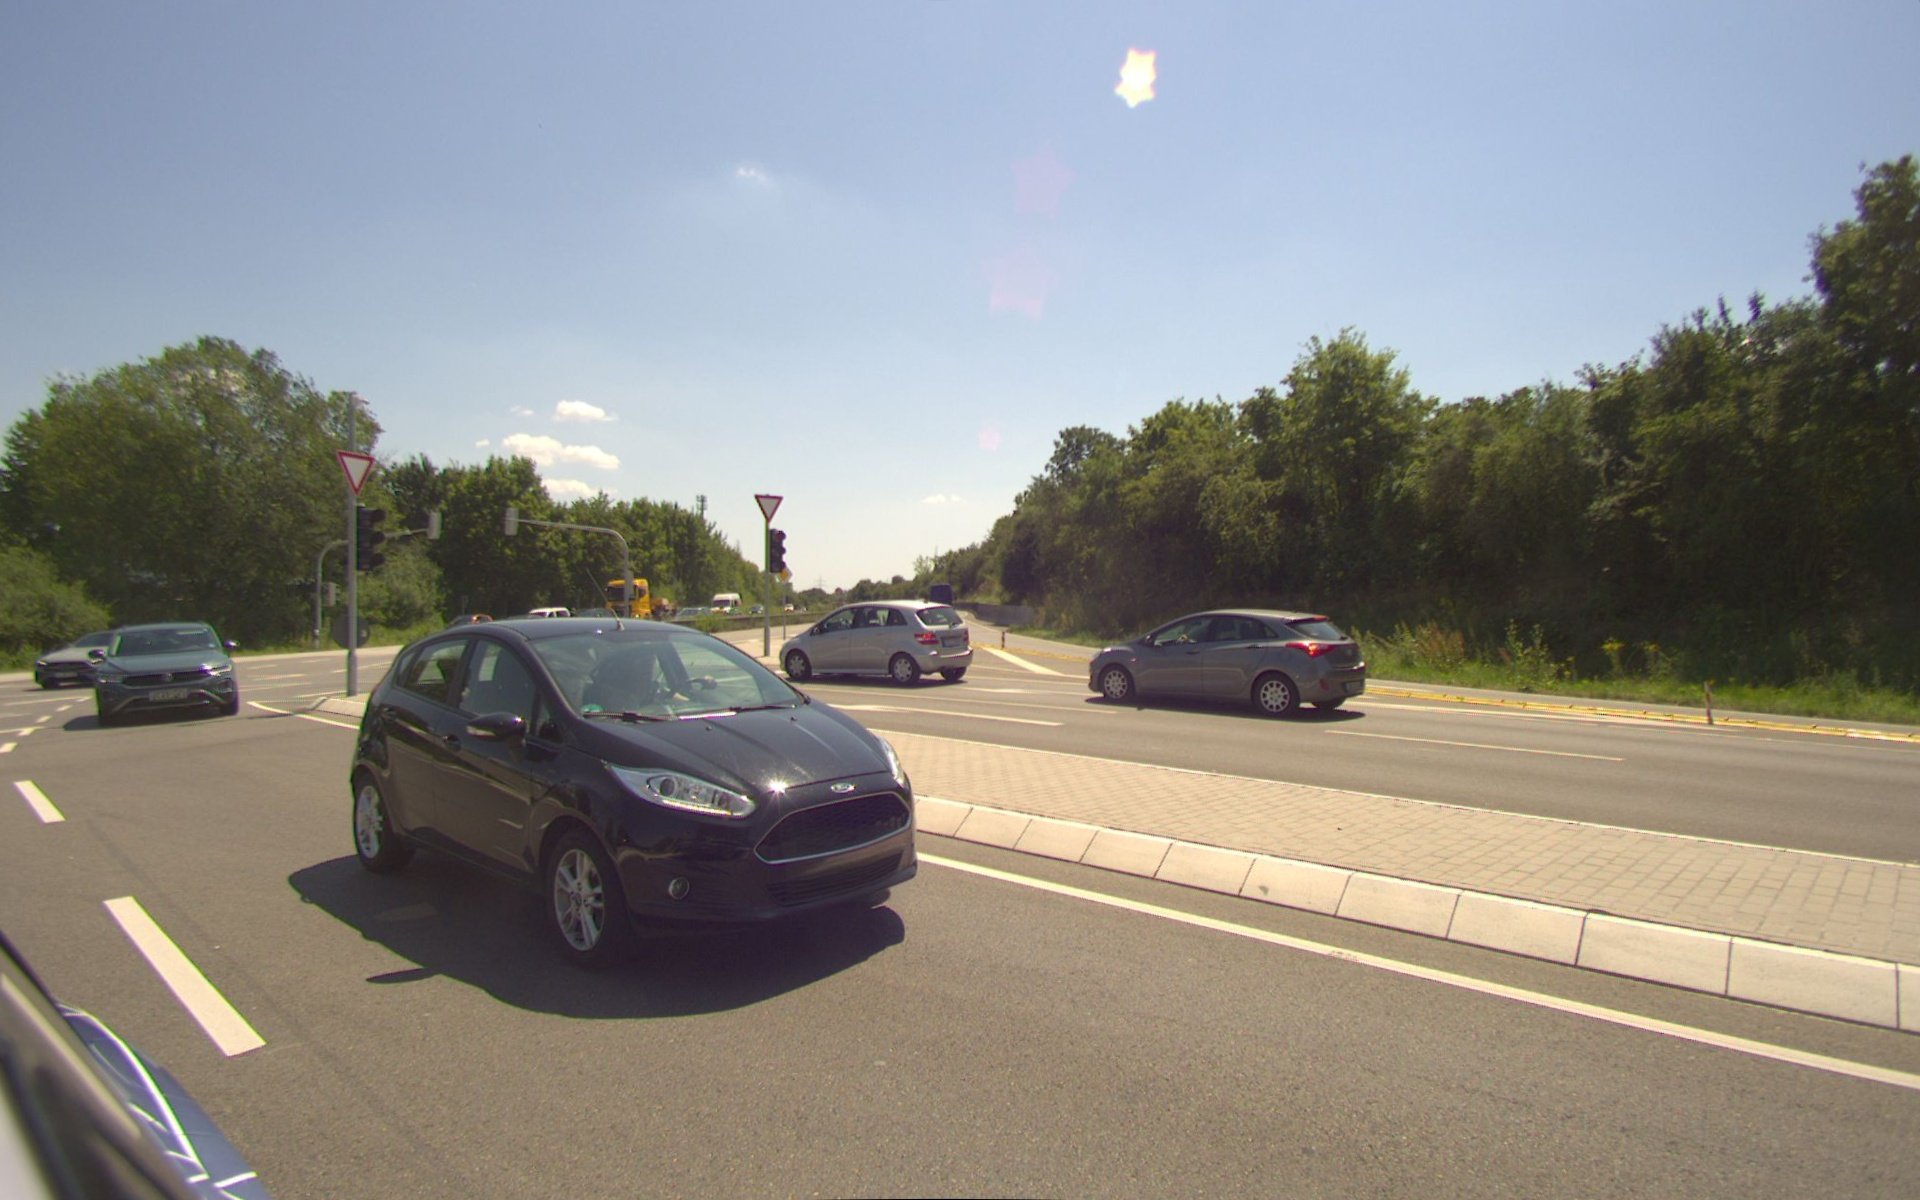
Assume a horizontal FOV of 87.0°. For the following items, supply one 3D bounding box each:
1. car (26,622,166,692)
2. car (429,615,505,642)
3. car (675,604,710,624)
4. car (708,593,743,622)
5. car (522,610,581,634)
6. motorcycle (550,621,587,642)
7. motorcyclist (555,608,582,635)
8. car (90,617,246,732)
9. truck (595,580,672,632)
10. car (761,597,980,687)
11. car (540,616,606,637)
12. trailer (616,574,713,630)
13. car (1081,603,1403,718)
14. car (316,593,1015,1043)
[{"bbox_3d":[-23.115,1.463,27.256,1.902,1.598,4.193,-1,0,-27],"label":"car"},{"bbox_3d":[-28.971,1.655,59.566,1.980,1.464,3.983,-1,0,13],"label":"car"},{"bbox_3d":[-23.819,1.214,90.238,2.138,1.702,3.933,-1,0,-1],"label":"car"},{"bbox_3d":[-22.325,0.711,96.533,2.138,2.627,5.482,-1,0,-1],"label":"car"},{"bbox_3d":[-27.775,1.493,68.905,1.764,1.464,3.983,-1,0,13],"label":"car"},{"bbox_3d":[-22.343,1.807,57.824,0.729,1.147,2.057,1,-3,22],"label":"motorcycle"},{"bbox_3d":[-22.357,1.221,57.826,0.856,1.499,1.153,1,-2,23],"label":"motorcyclist"},{"bbox_3d":[-13.264,1.158,16.910,1.811,1.598,4.398,-2,-1,-40],"label":"car"},{"bbox_3d":[-23.721,0.409,73.916,2.948,3.564,6.847,-1,0,5],"label":"truck"},{"bbox_3d":[-1.851,0.784,20.252,4.342,1.611,1.595,-1,0,34],"label":"car"},{"bbox_3d":[-24.388,1.652,63.908,1.980,1.198,3.983,-1,0,13],"label":"car"},{"bbox_3d":[-23.224,0.161,80.630,3.034,4.093,13.156,-1,0,4],"label":"trailer"},{"bbox_3d":[4.096,0.794,15.133,4.224,1.450,1.971,-1,0,45],"label":"car"},{"bbox_3d":[-1.850,0.748,5.420,4.207,1.505,1.635,0,-1,42],"label":"car"}]
